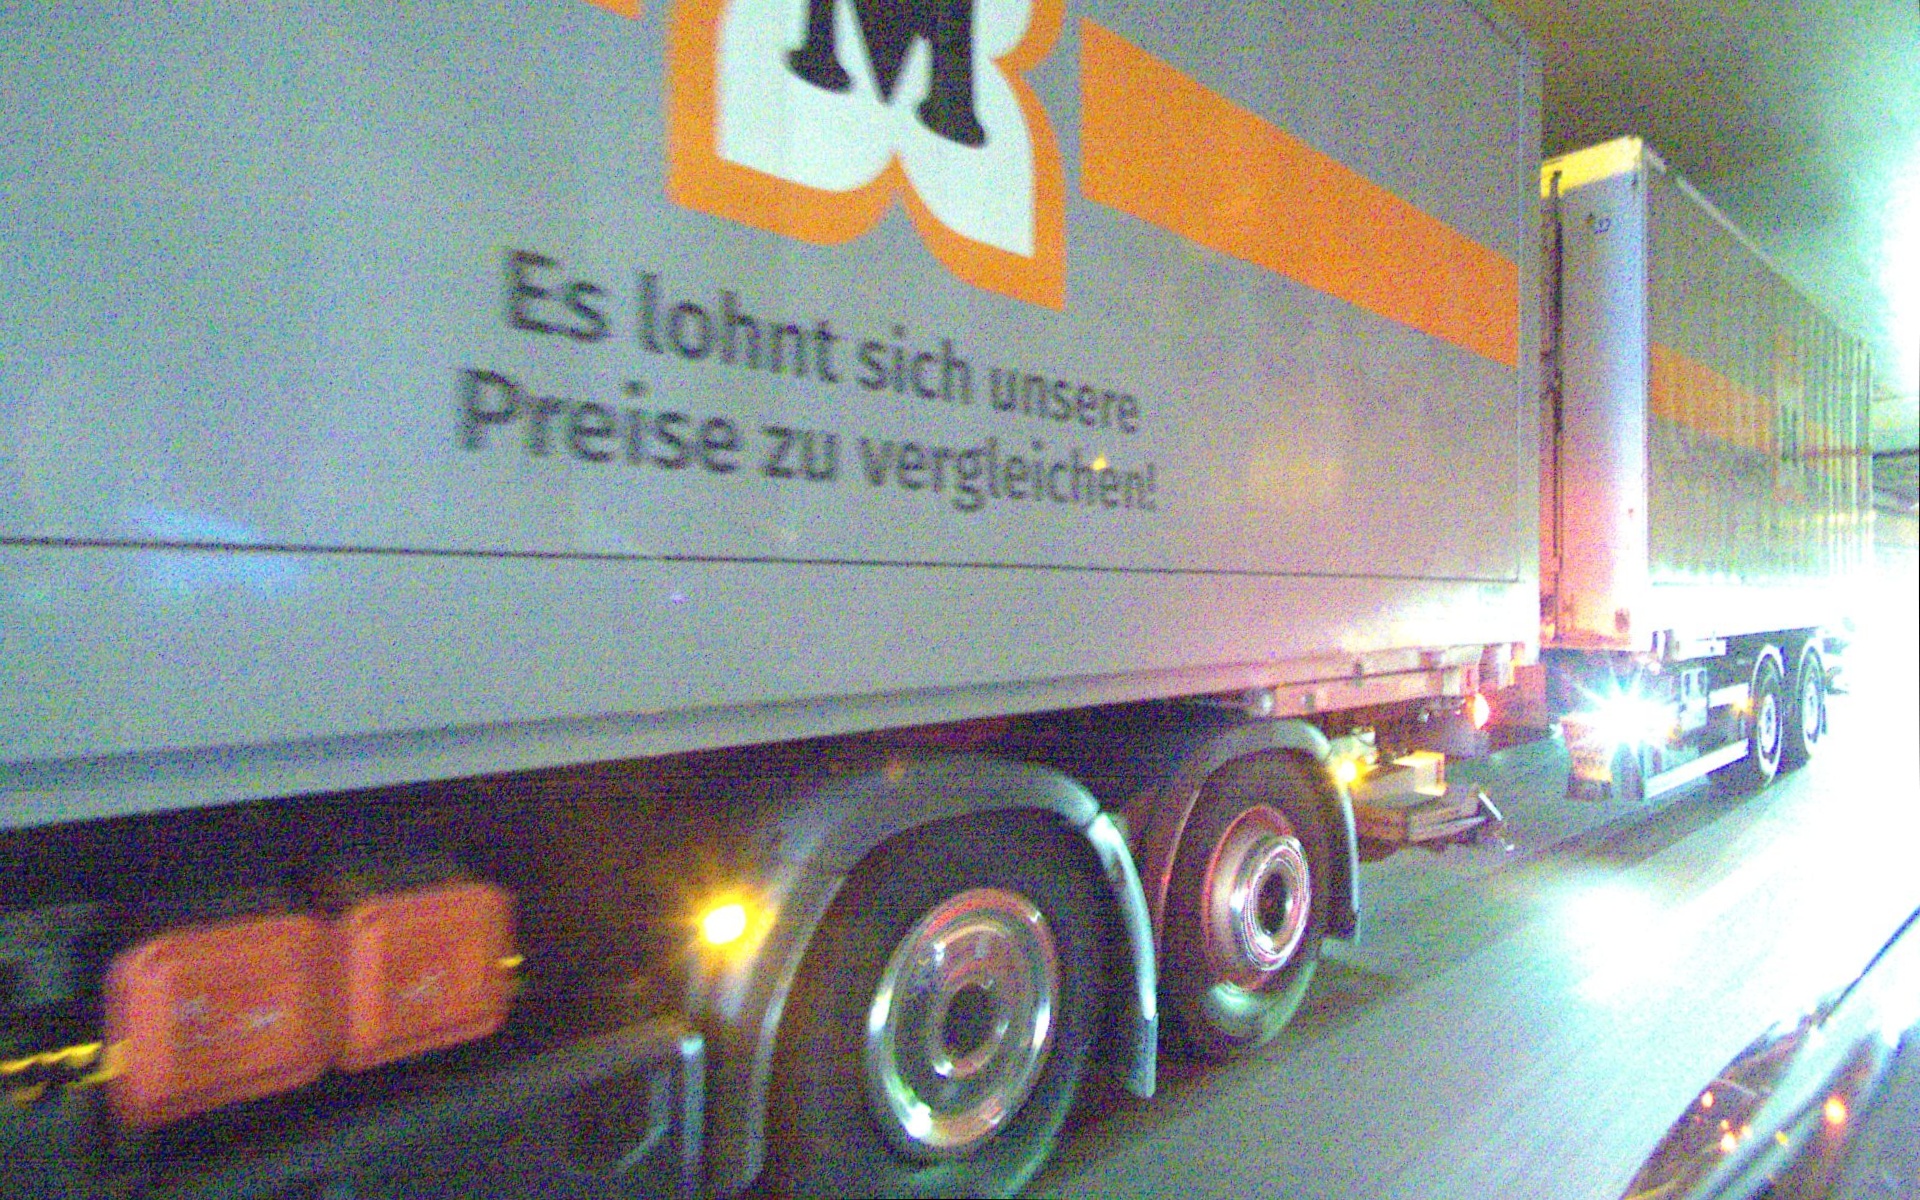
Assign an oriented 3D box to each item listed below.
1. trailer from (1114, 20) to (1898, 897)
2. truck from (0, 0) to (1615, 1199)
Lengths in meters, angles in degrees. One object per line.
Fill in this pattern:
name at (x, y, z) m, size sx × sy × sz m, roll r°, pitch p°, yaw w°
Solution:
trailer at (5.265, -0.646, 8.493) m, size 8.791 × 3.907 × 2.880 m, roll 0°, pitch 0°, yaw -41°
truck at (-1.698, -0.604, 2.394) m, size 9.735 × 3.963 × 2.894 m, roll 0°, pitch 0°, yaw -41°
